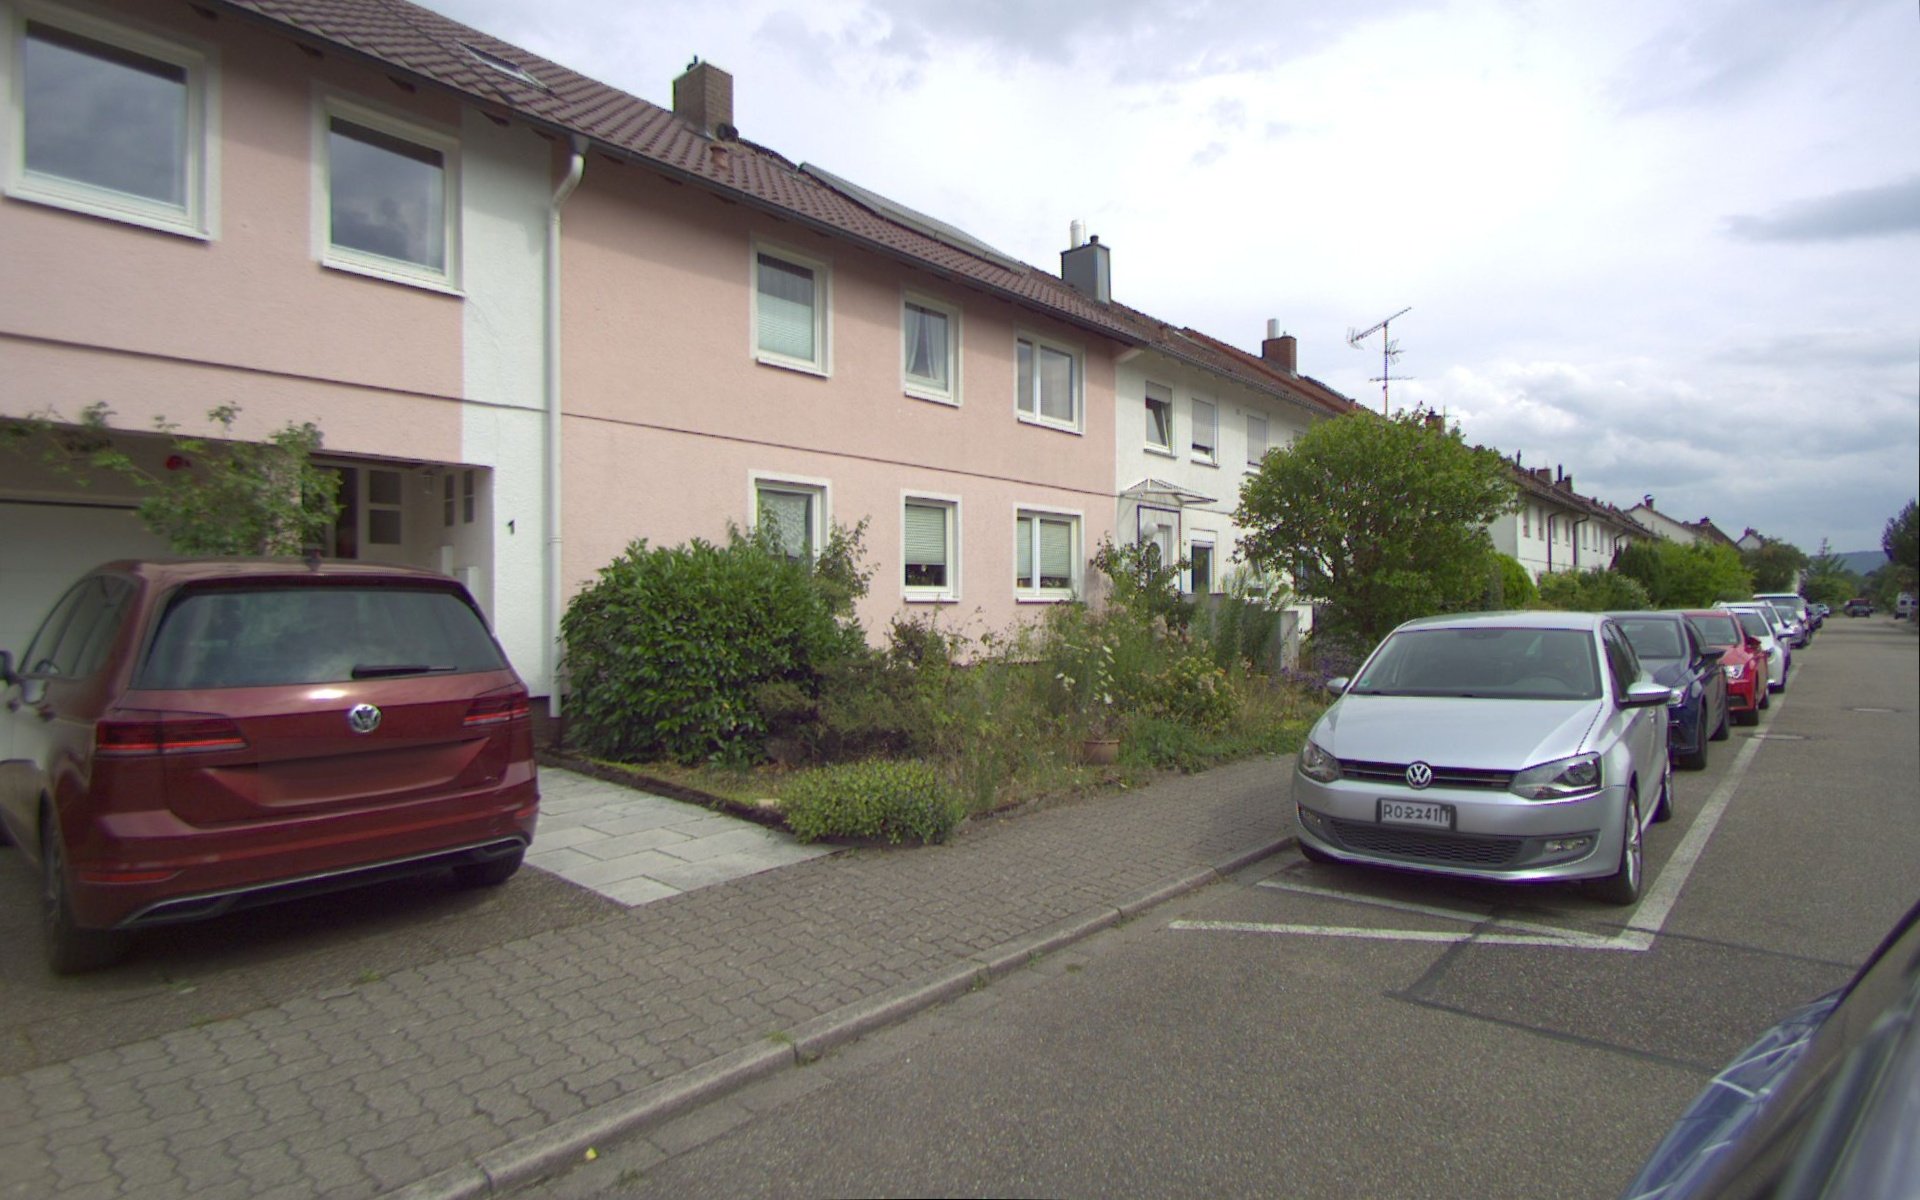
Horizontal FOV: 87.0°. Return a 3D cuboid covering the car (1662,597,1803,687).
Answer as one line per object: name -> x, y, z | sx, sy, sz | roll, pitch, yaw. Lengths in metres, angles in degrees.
car -> 14.111, 0.670, 18.462 | 1.835, 1.431, 4.571 | 0, 0, 39

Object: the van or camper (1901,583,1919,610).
van or camper -> 98.318, -0.364, 103.865 | 2.339, 2.770, 5.660 | -1, -1, 42

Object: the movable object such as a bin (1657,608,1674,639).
movable object such as a bin -> 21.960, 0.719, 31.493 | 0.406, 0.933, 0.415 | 0, 0, 37

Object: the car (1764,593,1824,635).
car -> 34.891, 0.556, 42.437 | 1.806, 1.672, 4.350 | 0, 0, 38

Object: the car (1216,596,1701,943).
car -> 3.409, 0.719, 6.433 | 1.861, 1.435, 4.192 | -1, -1, 39

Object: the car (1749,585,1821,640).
car -> 31.591, 0.446, 38.785 | 2.017, 1.972, 4.679 | 0, 0, 39

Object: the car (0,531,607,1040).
car -> -3.787, 0.560, 5.307 | 4.268, 1.580, 1.905 | 0, 0, 43

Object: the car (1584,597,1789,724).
car -> 10.185, 0.729, 14.024 | 1.772, 1.454, 4.753 | -3, -2, 42

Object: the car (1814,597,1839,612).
car -> 99.324, 0.504, 115.990 | 1.989, 1.619, 3.944 | -1, -1, 38

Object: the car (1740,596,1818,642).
car -> 28.323, 0.618, 34.960 | 1.899, 1.478, 4.066 | 0, 0, 42

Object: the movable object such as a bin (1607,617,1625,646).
movable object such as a bin -> 20.907, 1.000, 32.237 | 0.430, 0.933, 0.459 | -2, -2, 37

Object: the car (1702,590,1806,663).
car -> 18.659, 0.600, 23.727 | 1.711, 1.564, 3.915 | -3, -2, 41

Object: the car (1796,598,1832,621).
car -> 57.130, 0.600, 67.650 | 1.747, 1.486, 4.578 | -1, -1, 41

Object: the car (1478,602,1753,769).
car -> 6.953, 0.710, 10.531 | 1.772, 1.373, 4.200 | 0, 0, 42

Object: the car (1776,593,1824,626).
car -> 43.983, 0.479, 53.034 | 1.864, 1.674, 4.400 | -1, -1, 39
